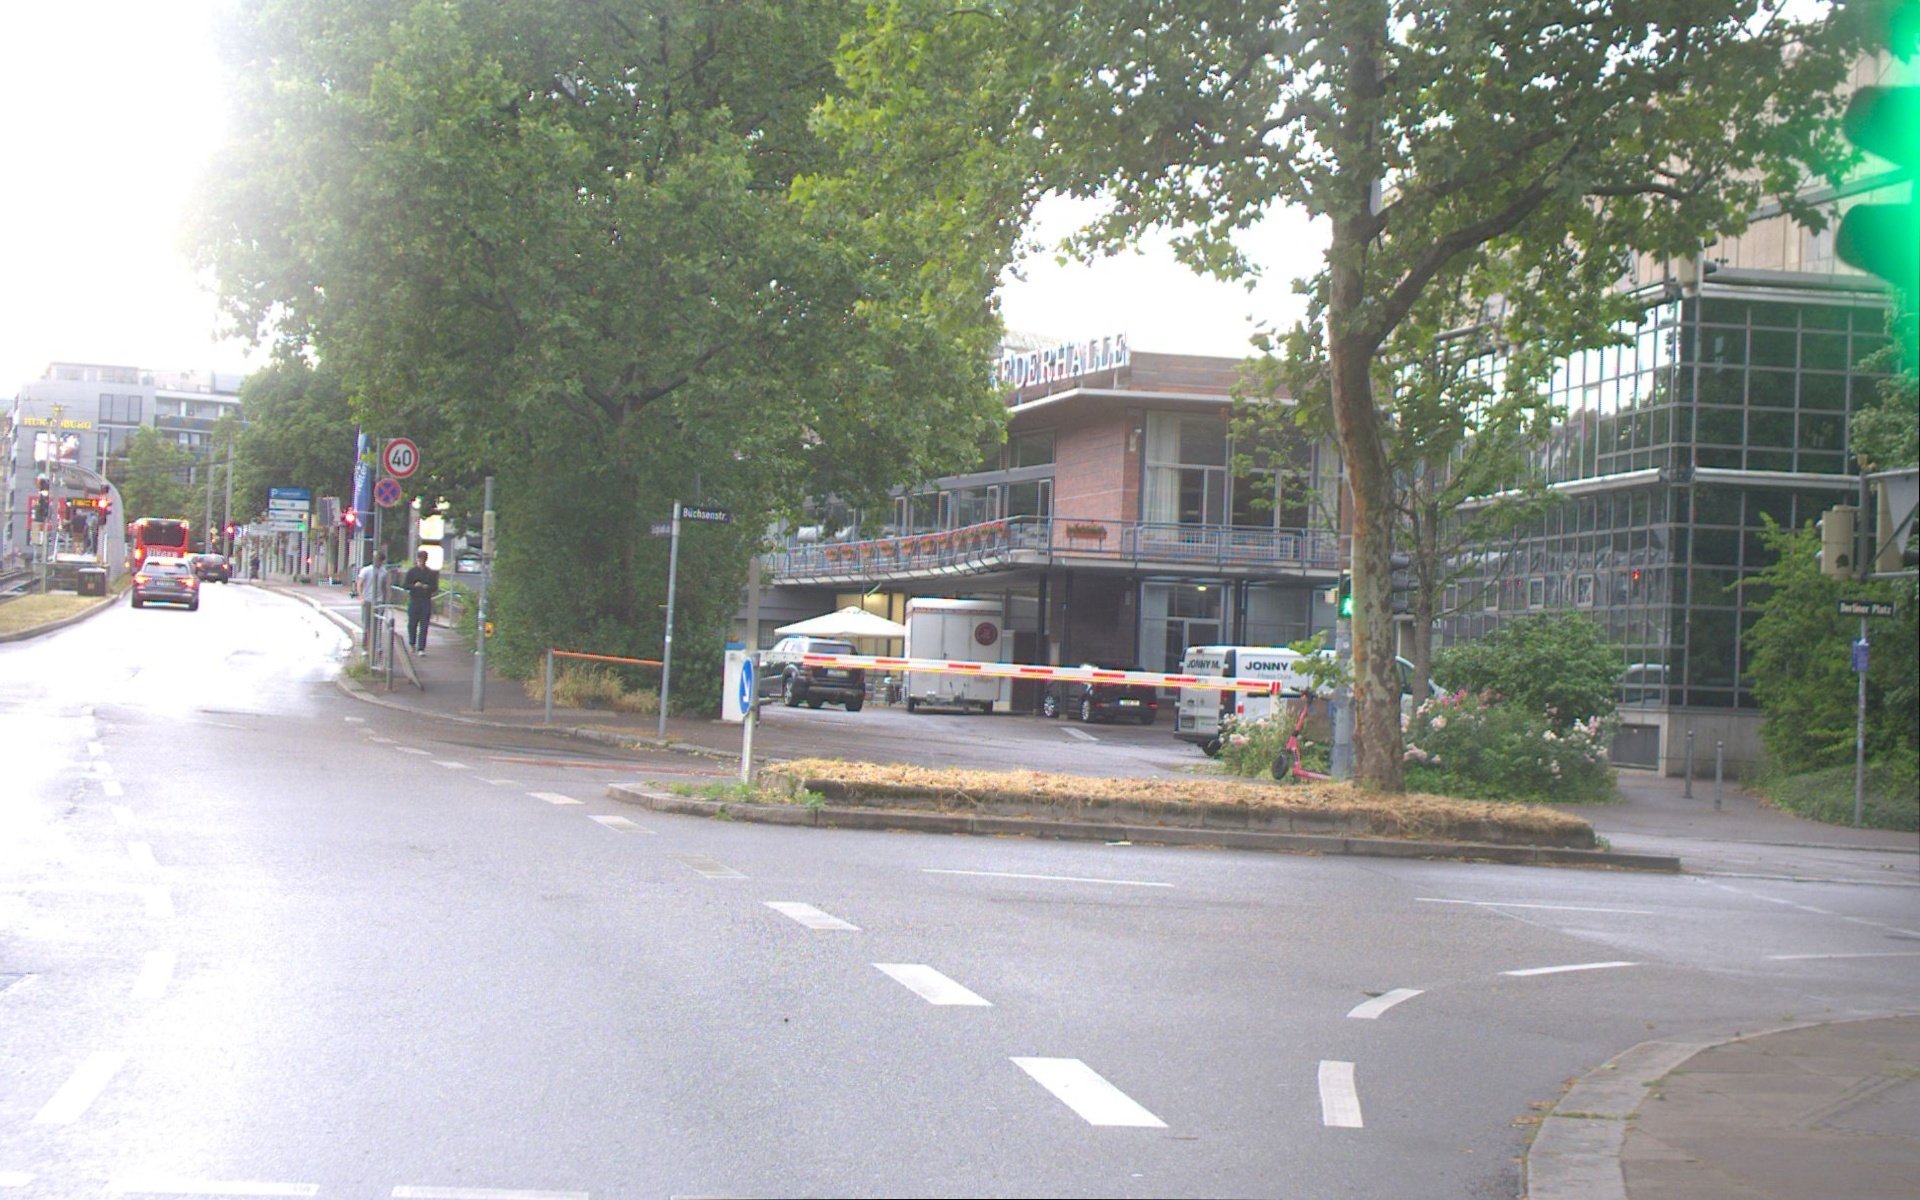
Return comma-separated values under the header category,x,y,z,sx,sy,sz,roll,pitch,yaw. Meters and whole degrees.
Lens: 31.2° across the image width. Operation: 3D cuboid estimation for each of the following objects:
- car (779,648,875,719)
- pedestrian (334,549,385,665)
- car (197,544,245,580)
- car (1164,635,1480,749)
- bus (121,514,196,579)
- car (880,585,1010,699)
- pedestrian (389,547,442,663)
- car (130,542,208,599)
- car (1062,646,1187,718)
category,x,y,z,sx,sy,sz,roll,pitch,yaw
car,-3.288,2.070,85.859,2.019,1.546,4.350,3,0,2
pedestrian,-10.525,0.125,60.283,0.814,2.007,1.077,1,0,-8
car,-38.547,-1.970,179.299,2.362,1.810,5.185,1,0,-13
car,6.339,1.620,60.129,5.198,1.725,1.875,3,0,-25
bus,-40.634,-2.656,174.319,3.589,3.160,10.423,1,0,-13
car,-0.445,1.037,89.291,2.731,2.686,6.923,3,0,-5
pedestrian,-9.574,0.085,60.516,0.874,2.007,1.077,1,0,-8
car,-22.207,-0.823,96.640,1.993,1.514,4.351,1,0,-11
car,4.131,2.055,87.066,2.019,1.546,4.351,3,0,-13
